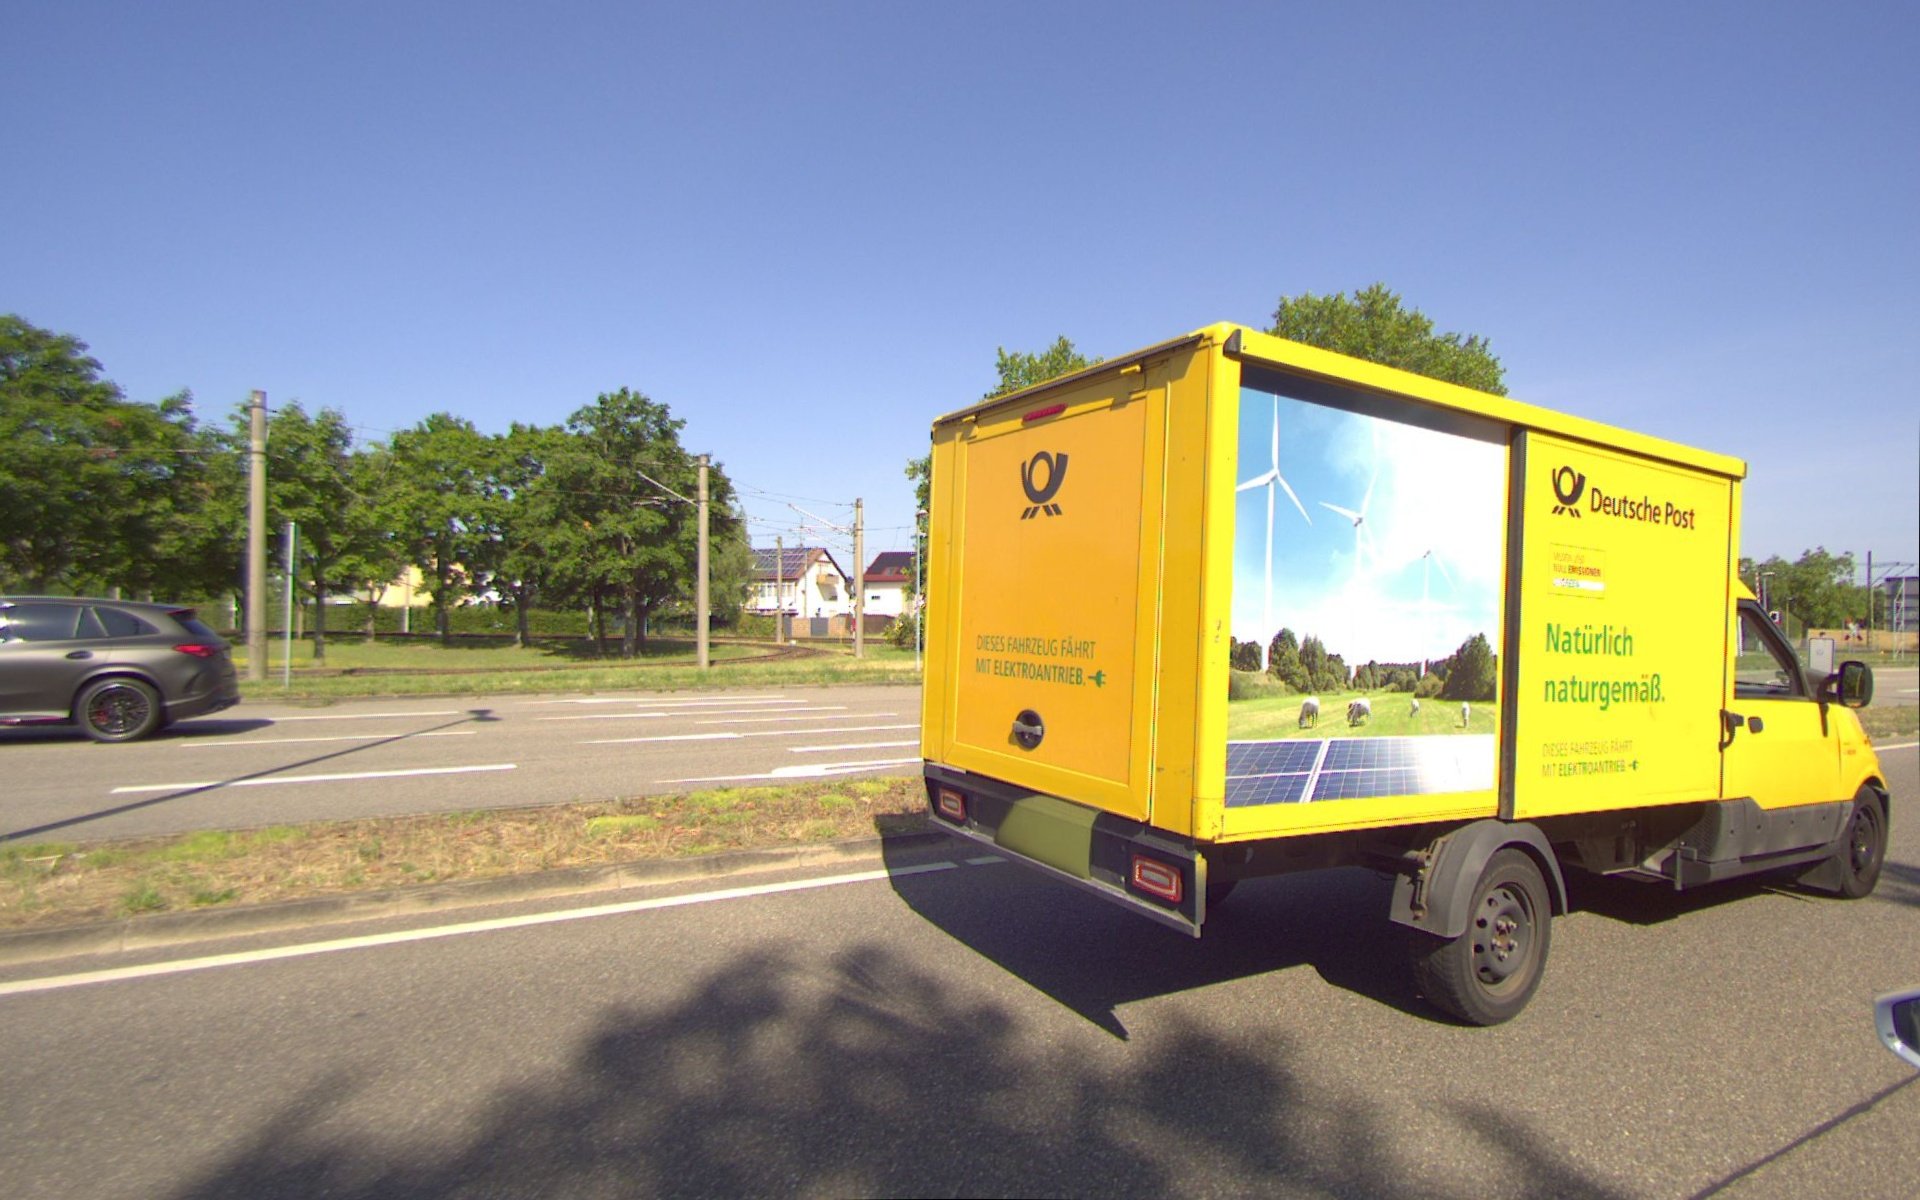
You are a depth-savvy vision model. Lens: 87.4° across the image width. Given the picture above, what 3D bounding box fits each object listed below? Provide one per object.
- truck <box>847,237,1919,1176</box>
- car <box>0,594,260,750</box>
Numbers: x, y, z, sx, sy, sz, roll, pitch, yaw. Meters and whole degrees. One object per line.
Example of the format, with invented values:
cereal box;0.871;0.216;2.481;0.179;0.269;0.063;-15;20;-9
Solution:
truck;2.540;0.335;5.103;5.850;2.490;2.101;1;0;-32
car;-10.949;0.801;11.611;4.503;1.681;1.972;1;-2;-31
